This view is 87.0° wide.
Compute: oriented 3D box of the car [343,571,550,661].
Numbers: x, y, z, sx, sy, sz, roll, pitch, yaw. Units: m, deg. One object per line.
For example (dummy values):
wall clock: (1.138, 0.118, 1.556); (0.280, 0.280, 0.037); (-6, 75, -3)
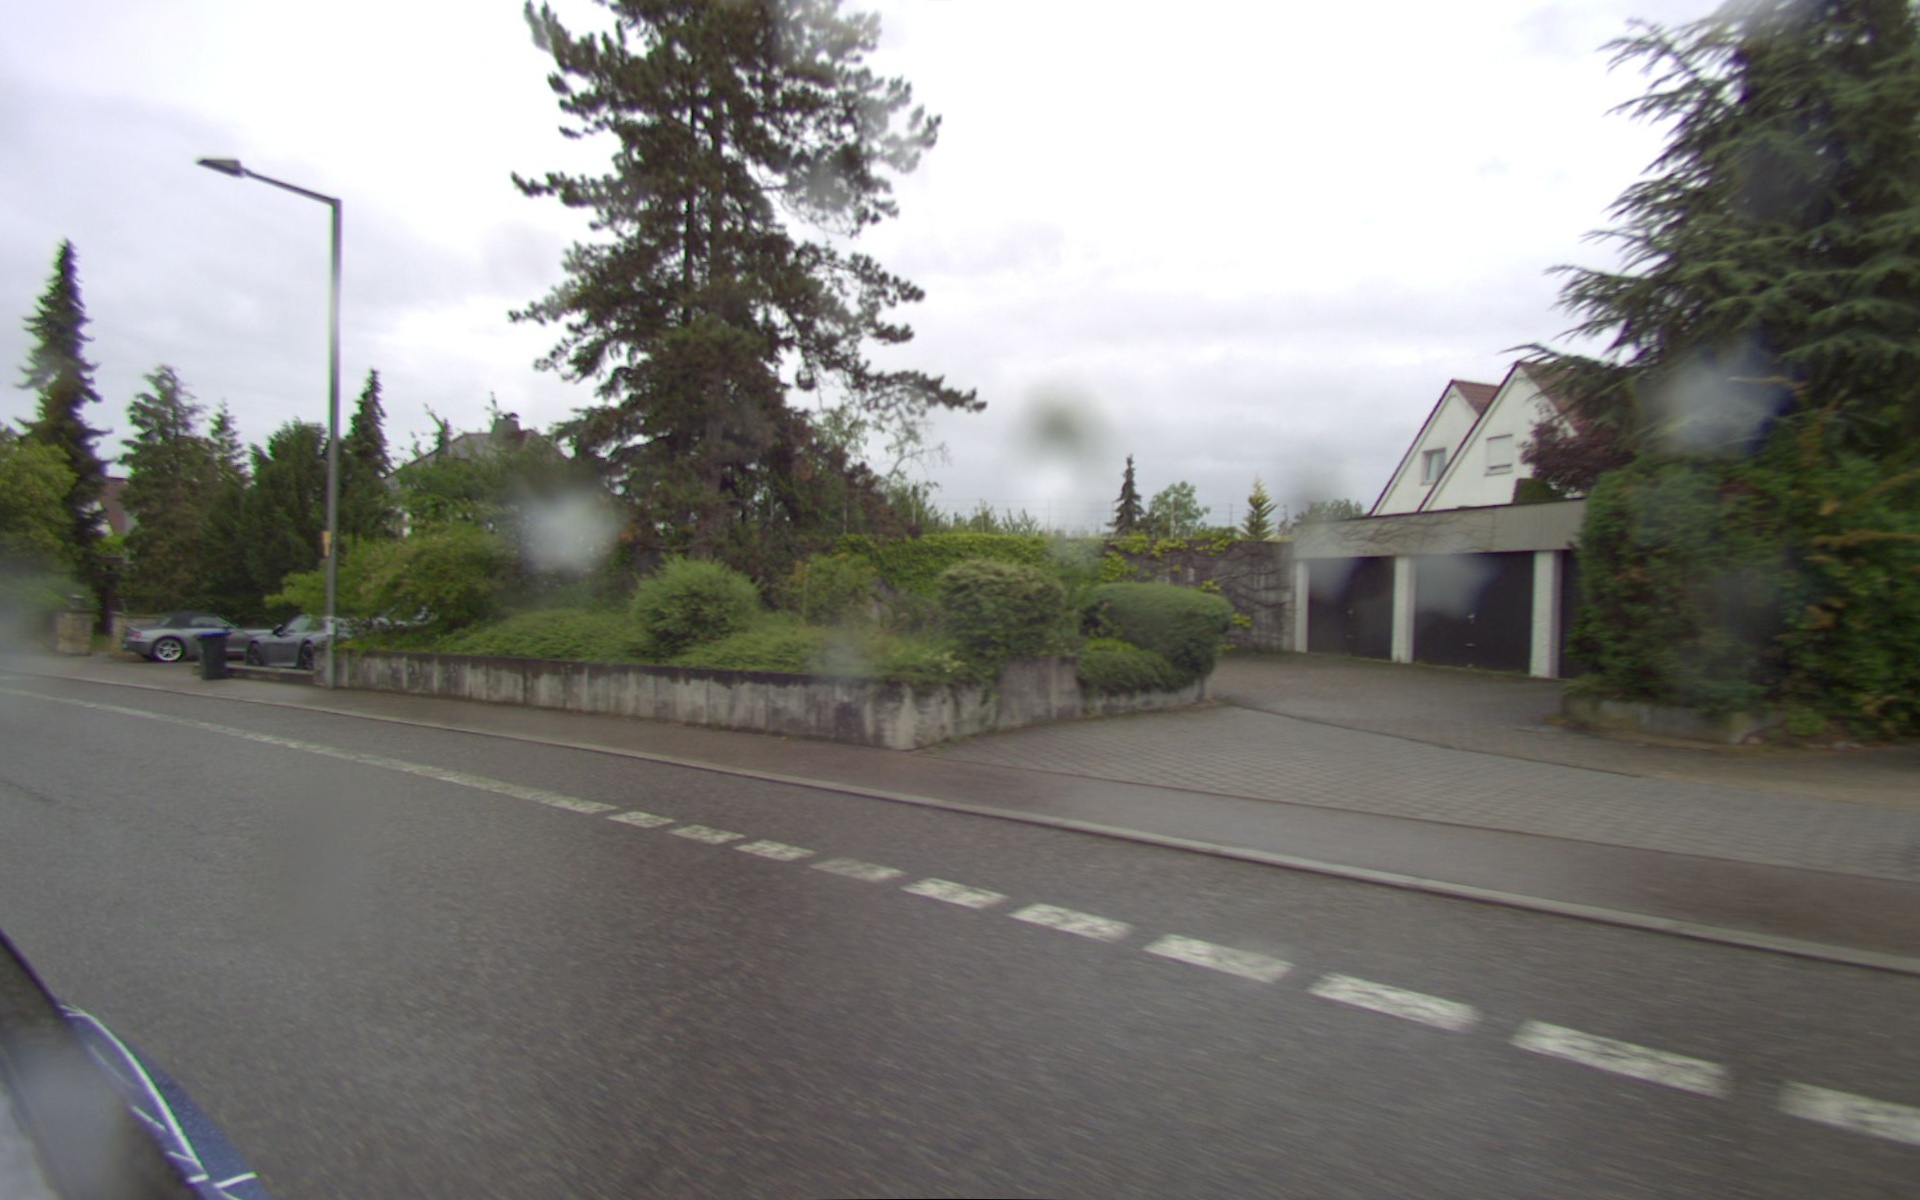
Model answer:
car: (-11.892, 0.334, 23.272); (5.467, 1.858, 1.976); (0, 0, 36)

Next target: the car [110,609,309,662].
car: (-19.910, 0.886, 26.979); (1.872, 1.281, 3.948); (0, 0, 39)

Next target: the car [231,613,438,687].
car: (-12.696, 0.949, 20.469); (4.422, 1.317, 1.977); (0, -1, 35)

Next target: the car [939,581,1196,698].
car: (1.560, 0.559, 15.998); (1.966, 1.586, 4.011); (1, -1, -33)

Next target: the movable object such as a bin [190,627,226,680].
movable object such as a bin: (-14.442, 1.016, 19.436); (0.557, 0.995, 0.367); (0, -1, 33)
